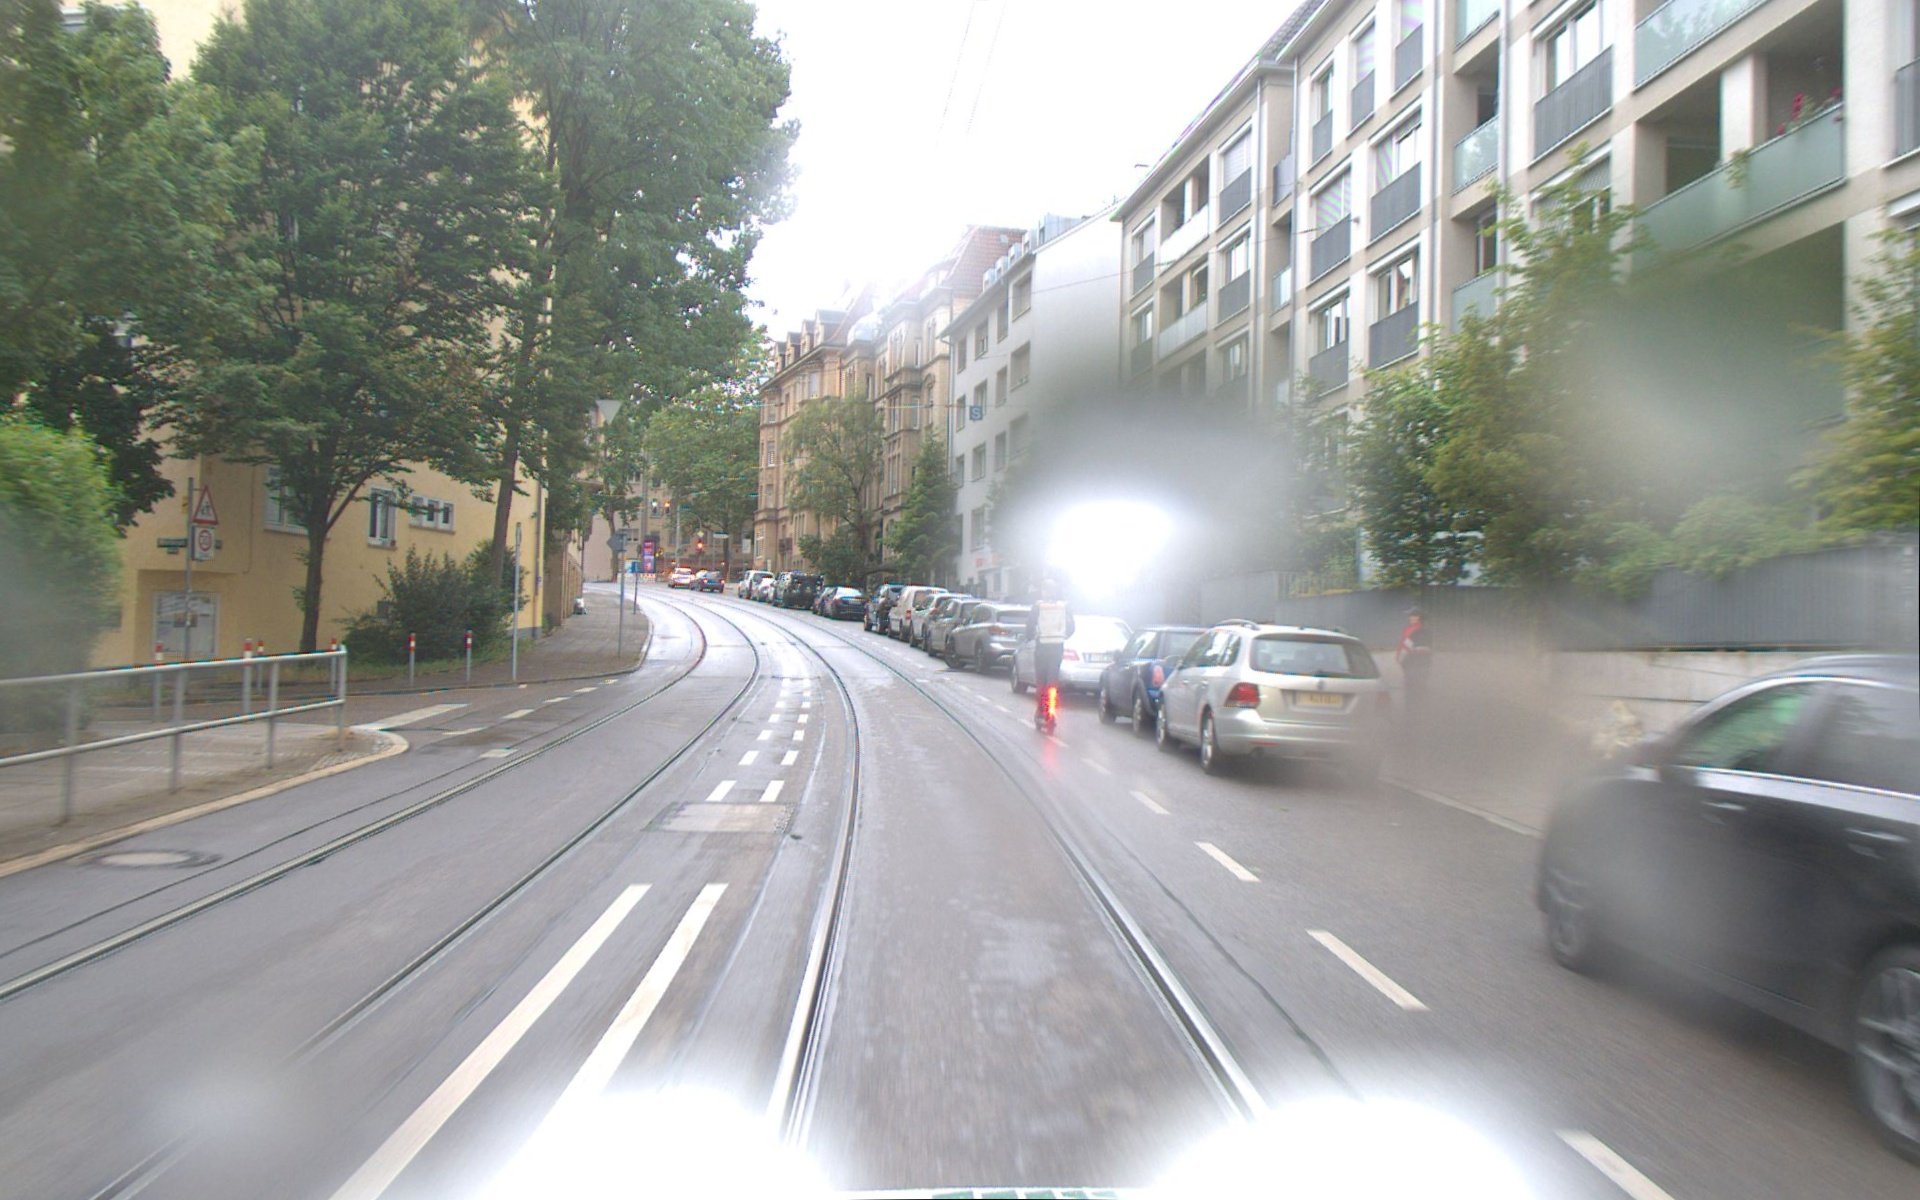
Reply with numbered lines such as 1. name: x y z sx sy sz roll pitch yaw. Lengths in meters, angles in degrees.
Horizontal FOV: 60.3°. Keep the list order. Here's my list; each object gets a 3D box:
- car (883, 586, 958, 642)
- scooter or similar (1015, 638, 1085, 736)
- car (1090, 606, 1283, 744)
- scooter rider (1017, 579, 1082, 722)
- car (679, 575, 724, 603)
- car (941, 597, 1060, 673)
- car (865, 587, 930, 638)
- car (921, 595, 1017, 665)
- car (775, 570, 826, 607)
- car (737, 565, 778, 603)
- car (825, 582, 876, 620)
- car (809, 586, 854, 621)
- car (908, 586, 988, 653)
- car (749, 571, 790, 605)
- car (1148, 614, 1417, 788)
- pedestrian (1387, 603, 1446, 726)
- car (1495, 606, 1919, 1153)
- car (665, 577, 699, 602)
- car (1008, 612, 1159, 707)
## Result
1. car: -1.390 0.440 56.406 1.735 1.713 4.236 3 1 -12
2. scooter or similar: 1.111 1.059 20.756 0.503 1.067 2.006 4 0 -6
3. car: 2.908 0.921 21.974 1.669 1.538 3.710 3 0 -6
4. scooter rider: 1.116 0.615 20.727 0.611 1.735 0.843 3 1 -6
5. car: -18.433 -0.780 117.833 2.002 1.764 4.107 3 1 -25
6. car: 0.884 0.772 38.755 1.736 1.643 4.233 1 0 -14
7. car: -2.353 0.428 61.151 1.735 1.713 4.237 3 1 -11
8. car: 0.182 0.774 44.785 1.735 1.643 4.237 3 1 -11
9. car: -8.577 -0.631 88.657 1.994 1.856 4.351 3 1 -15
10. car: -12.790 -1.037 104.438 1.994 2.256 4.124 3 0 -14
11. car: -4.979 0.037 74.644 1.735 1.544 4.129 3 1 -11
12. car: -6.201 0.139 79.517 1.621 1.563 3.877 -1 1 -12
13. car: -0.425 0.562 50.289 1.734 1.818 4.239 3 0 -9
14. car: -11.462 -0.735 99.530 1.992 1.856 4.127 3 0 -12
15. car: 3.203 0.944 17.339 1.628 1.497 4.504 3 -1 -4
16. pedestrian: 5.989 0.838 21.713 0.558 1.569 0.651 -1 0 -1
17. car: 3.633 0.883 6.101 1.667 1.538 4.570 4 0 -1
18. car: -20.775 -0.792 123.536 1.827 1.764 4.119 3 1 -18
19. car: 2.070 0.978 29.106 1.729 1.460 4.631 1 0 -8
